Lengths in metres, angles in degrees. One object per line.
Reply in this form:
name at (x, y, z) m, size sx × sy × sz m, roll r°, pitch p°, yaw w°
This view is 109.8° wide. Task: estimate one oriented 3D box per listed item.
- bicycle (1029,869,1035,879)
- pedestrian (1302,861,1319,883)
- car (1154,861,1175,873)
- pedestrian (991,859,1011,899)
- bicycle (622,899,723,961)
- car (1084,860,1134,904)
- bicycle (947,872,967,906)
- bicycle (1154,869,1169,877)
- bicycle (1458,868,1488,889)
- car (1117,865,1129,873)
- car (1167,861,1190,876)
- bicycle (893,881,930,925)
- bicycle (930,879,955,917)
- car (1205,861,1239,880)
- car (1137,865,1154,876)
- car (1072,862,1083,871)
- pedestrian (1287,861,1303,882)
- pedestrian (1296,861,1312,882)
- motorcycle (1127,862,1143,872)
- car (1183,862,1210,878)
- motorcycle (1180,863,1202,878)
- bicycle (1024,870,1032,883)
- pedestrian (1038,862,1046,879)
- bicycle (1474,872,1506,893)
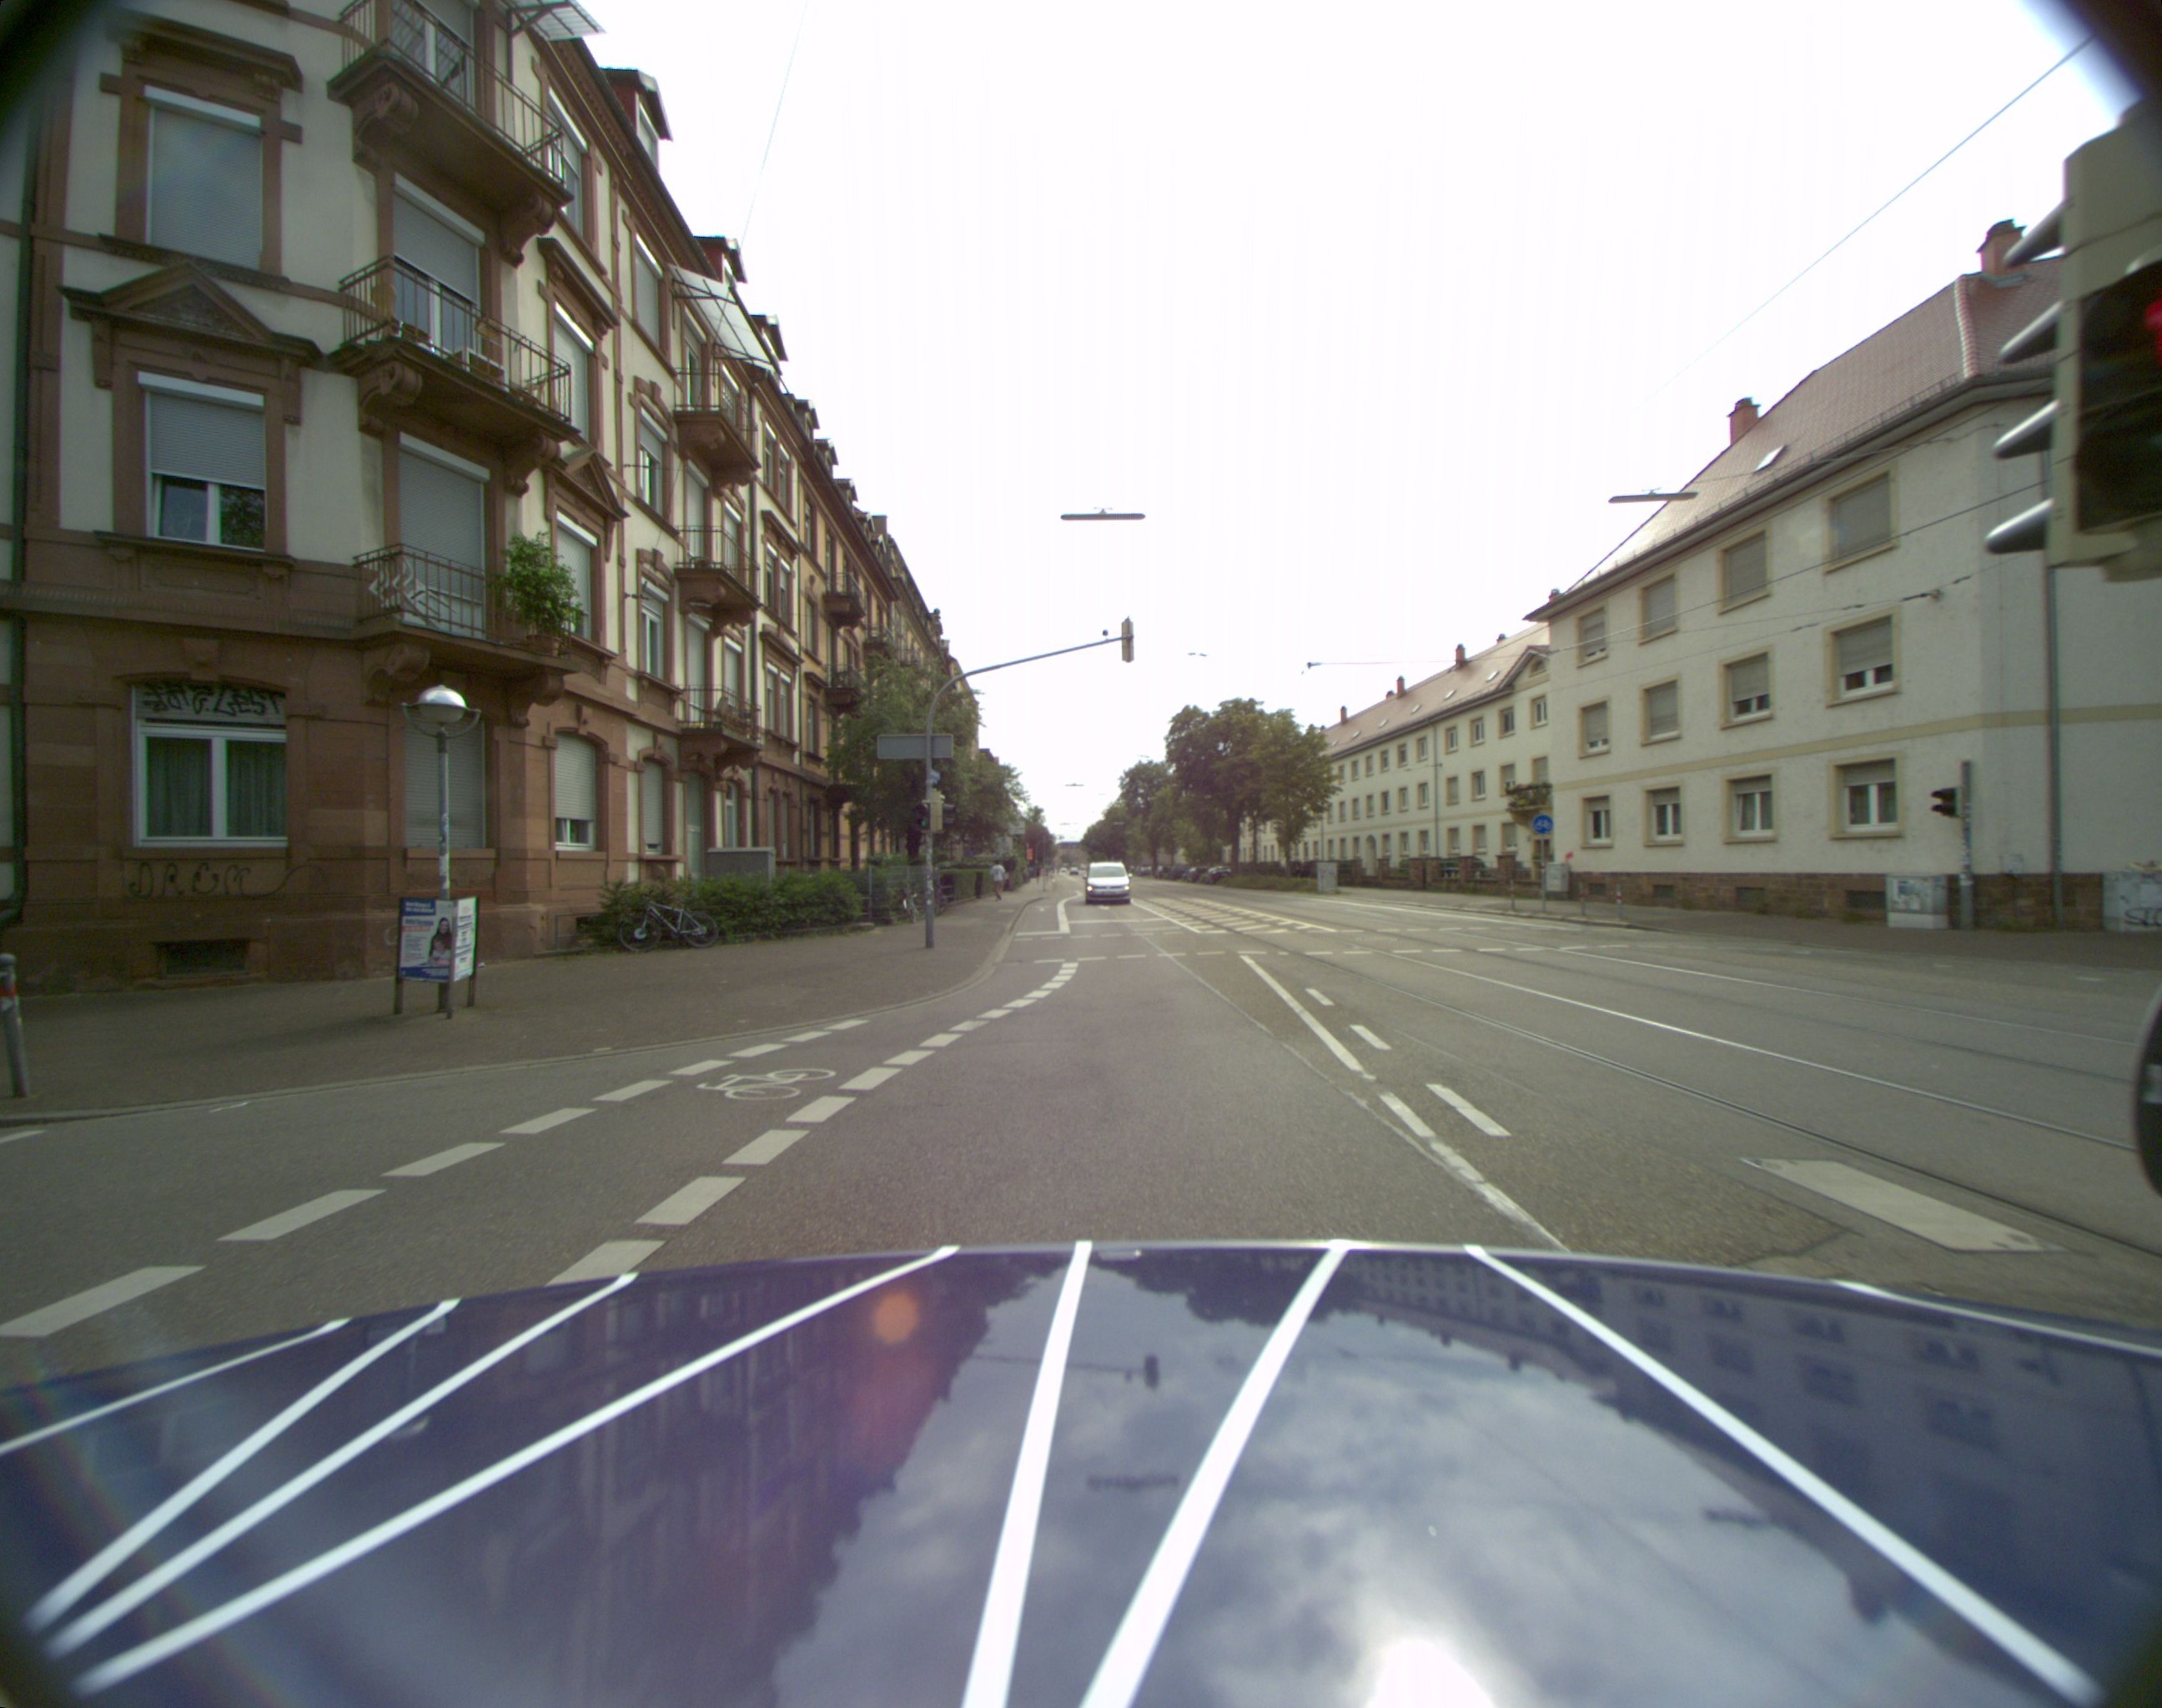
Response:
bicycle at (-5.097, 2.097, 78.596) m, size 0.580 × 0.977 × 1.672 m, roll 3°, pitch -1°, yaw -3°
pedestrian at (15.563, 1.203, 51.580) m, size 0.835 × 1.456 × 0.732 m, roll -1°, pitch 0°, yaw -7°
car at (10.019, 1.555, 91.369) m, size 1.701 × 1.461 × 4.299 m, roll -1°, pitch -1°, yaw -4°
pedestrian at (-3.493, 1.082, 33.182) m, size 0.732 × 1.743 × 0.950 m, roll -1°, pitch 0°, yaw 3°
bicycle at (-7.270, 1.331, 13.592) m, size 0.509 × 0.964 × 1.553 m, roll -1°, pitch -1°, yaw 31°
car at (1.088, 1.087, 31.658) m, size 1.876 × 1.670 × 5.132 m, roll -1°, pitch -1°, yaw 0°
bicycle at (-4.829, 1.338, 29.714) m, size 0.517 × 1.274 × 1.550 m, roll -1°, pitch -1°, yaw 0°
bicycle at (10.145, 2.369, 95.959) m, size 1.672 × 0.965 × 0.672 m, roll -1°, pitch 0°, yaw -11°
bicycle at (17.608, 1.081, 34.164) m, size 0.479 × 0.910 × 1.672 m, roll -1°, pitch -1°, yaw -2°
car at (8.168, 2.975, 147.897) m, size 1.732 × 1.461 × 4.299 m, roll -1°, pitch -1°, yaw -4°
car at (10.482, 1.567, 81.968) m, size 1.790 × 1.602 × 4.299 m, roll -1°, pitch -1°, yaw -2°
bicycle at (-4.596, 1.314, 20.668) m, size 0.673 × 1.099 × 1.672 m, roll -1°, pitch -1°, yaw -2°
bicycle at (-4.251, 1.344, 23.401) m, size 0.510 × 1.082 × 1.550 m, roll 2°, pitch -1°, yaw -2°
car at (11.553, 1.340, 62.497) m, size 1.701 × 1.415 × 4.299 m, roll -4°, pitch -1°, yaw -2°
car at (9.360, 2.396, 110.578) m, size 1.701 × 1.462 × 4.298 m, roll -1°, pitch 0°, yaw -4°
car at (-0.759, 2.438, 148.156) m, size 1.947 × 1.675 × 4.001 m, roll -1°, pitch -1°, yaw 2°
pedestrian at (15.341, 1.256, 54.489) m, size 0.835 × 1.503 × 0.732 m, roll -1°, pitch 0°, yaw -7°
pedestrian at (15.454, 1.233, 52.742) m, size 0.835 × 1.456 × 0.732 m, roll -1°, pitch 0°, yaw -7°
motorcycle at (8.965, 2.197, 126.167) m, size 2.312 × 1.381 × 0.838 m, roll -6°, pitch 0°, yaw 30°
car at (10.677, 1.480, 70.609) m, size 1.701 × 1.415 × 4.299 m, roll -2°, pitch -1°, yaw -2°
motorcycle at (10.788, 1.650, 74.461) m, size 1.871 × 1.253 × 0.591 m, roll -6°, pitch 0°, yaw -6°
bicycle at (-4.702, 1.949, 67.105) m, size 0.580 × 1.105 × 1.672 m, roll 3°, pitch -1°, yaw -3°
pedestrian at (-3.568, 1.517, 69.981) m, size 0.732 × 1.614 × 0.835 m, roll -1°, pitch 0°, yaw -2°
bicycle at (18.571, 1.265, 34.547) m, size 0.479 × 0.910 × 1.672 m, roll -1°, pitch -1°, yaw -2°
